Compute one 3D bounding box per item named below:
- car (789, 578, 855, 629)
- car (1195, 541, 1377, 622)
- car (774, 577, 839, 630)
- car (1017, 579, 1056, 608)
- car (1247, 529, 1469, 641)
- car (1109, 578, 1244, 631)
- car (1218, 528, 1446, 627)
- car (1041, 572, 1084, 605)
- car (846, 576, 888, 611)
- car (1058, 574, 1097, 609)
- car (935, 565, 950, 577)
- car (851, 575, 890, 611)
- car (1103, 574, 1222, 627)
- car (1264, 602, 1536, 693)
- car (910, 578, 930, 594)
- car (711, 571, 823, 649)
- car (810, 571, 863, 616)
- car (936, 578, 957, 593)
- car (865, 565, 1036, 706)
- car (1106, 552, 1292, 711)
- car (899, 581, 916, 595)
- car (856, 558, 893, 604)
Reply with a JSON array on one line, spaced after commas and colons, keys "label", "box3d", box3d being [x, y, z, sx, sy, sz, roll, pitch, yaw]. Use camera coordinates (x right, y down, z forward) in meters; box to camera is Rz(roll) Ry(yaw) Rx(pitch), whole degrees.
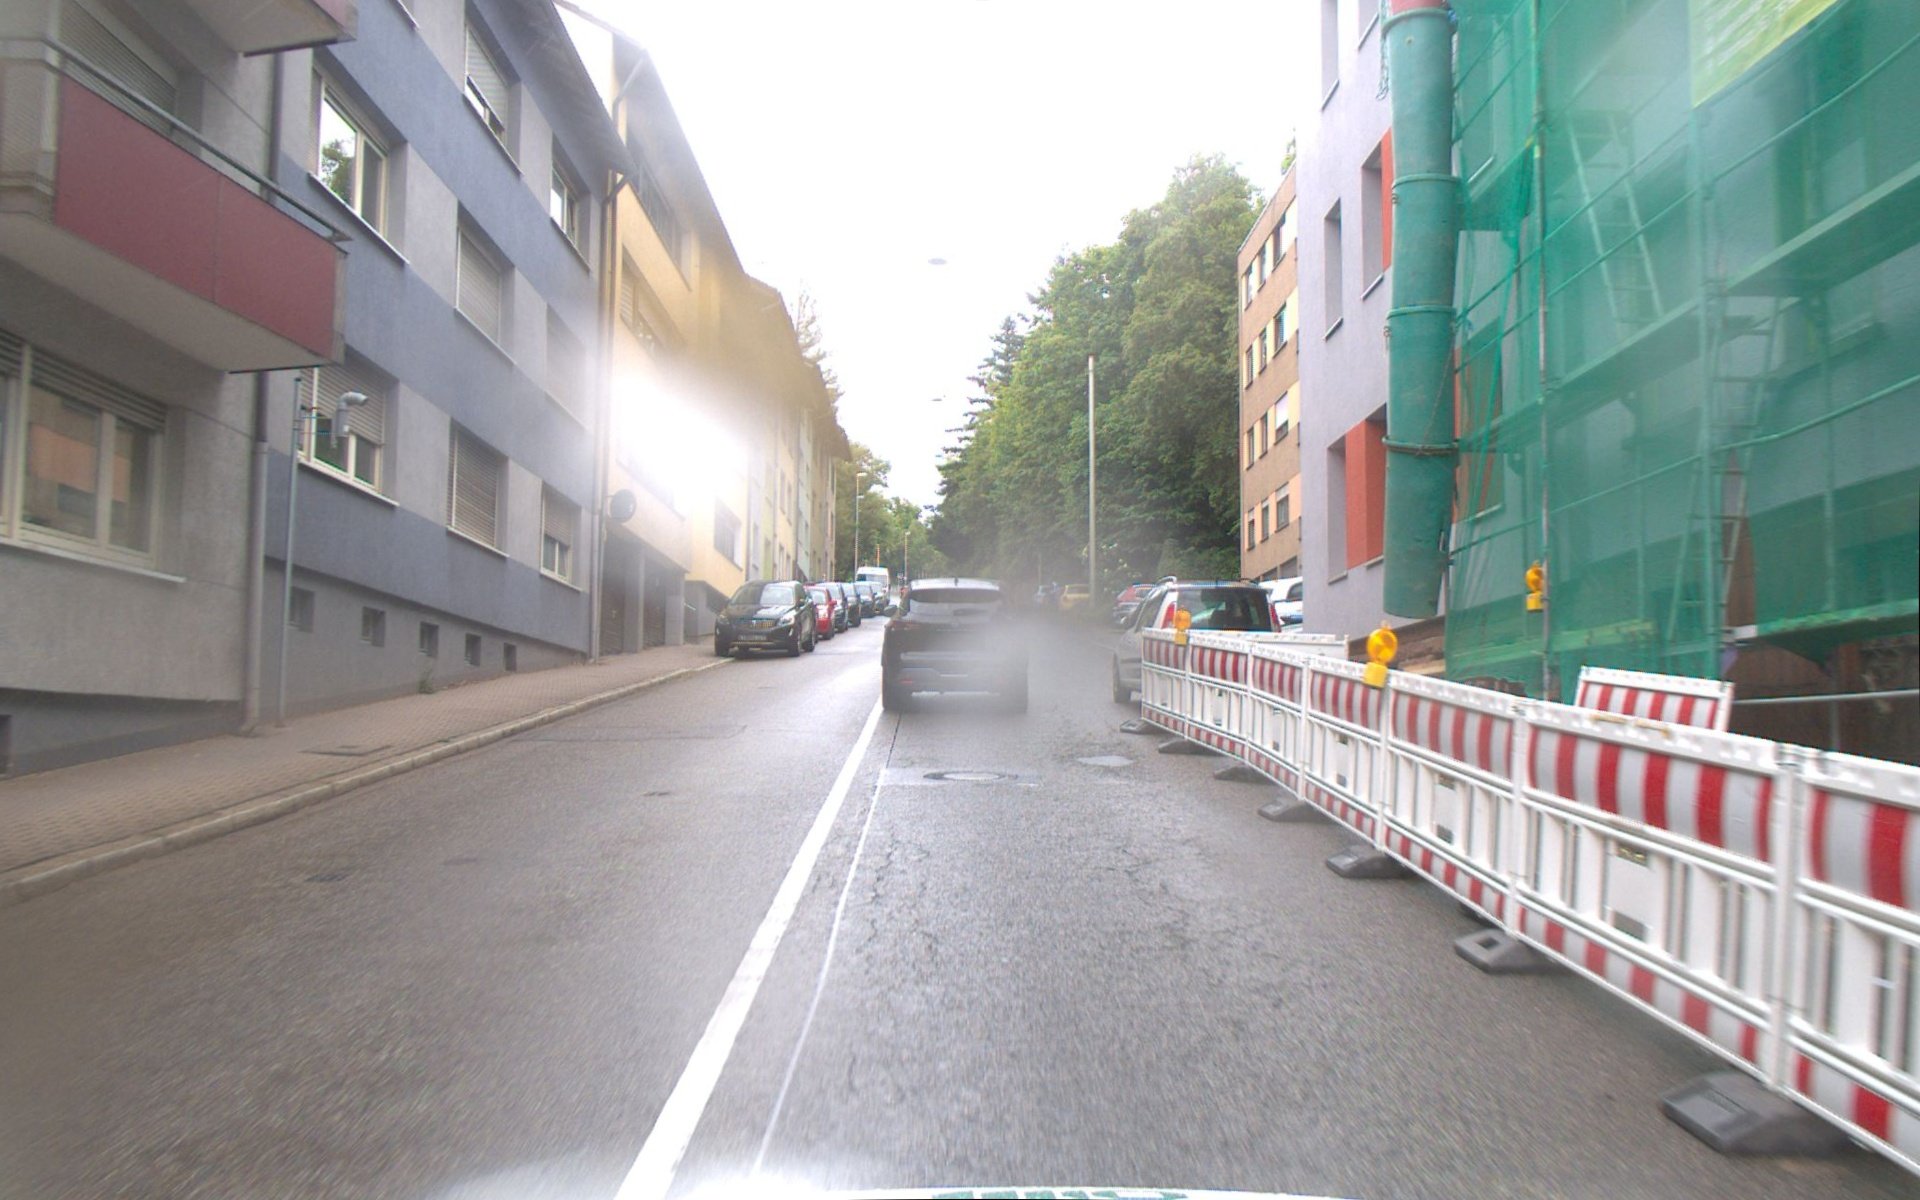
[{"label": "car", "box3d": [-4.542, 0.087, 55.048, 1.953, 1.613, 4.470, 0, 1, -2]}, {"label": "car", "box3d": [7.811, -0.455, 39.753, 3.885, 1.556, 1.691, -5, 1, -5]}, {"label": "car", "box3d": [-4.450, 0.072, 48.251, 1.693, 1.498, 3.490, 0, 1, -2]}, {"label": "car", "box3d": [4.398, -0.404, 95.542, 1.775, 1.556, 4.414, -2, 1, -3]}, {"label": "car", "box3d": [7.676, -0.307, 32.114, 3.751, 1.731, 1.728, -6, 1, -3]}, {"label": "car", "box3d": [7.103, 0.132, 54.488, 4.114, 1.522, 1.759, 3, 0, -3]}, {"label": "car", "box3d": [7.830, -0.482, 35.042, 4.256, 1.555, 1.876, -7, 1, -2]}, {"label": "car", "box3d": [5.230, -0.599, 84.803, 1.774, 1.556, 4.416, -2, 1, -1]}, {"label": "car", "box3d": [-4.452, -0.351, 79.900, 1.950, 1.613, 4.304, 0, 1, -2]}, {"label": "car", "box3d": [5.518, -0.428, 77.844, 1.599, 1.556, 4.001, 2, 1, 1]}, {"label": "car", "box3d": [-2.503, -4.107, 237.643, 1.952, 1.587, 4.000, -1, -1, 1]}, {"label": "car", "box3d": [-4.623, -0.401, 85.887, 1.950, 1.786, 4.478, 0, 1, -2]}, {"label": "car", "box3d": [7.612, -0.007, 62.397, 4.116, 1.764, 1.758, 3, 0, -5]}, {"label": "car", "box3d": [7.541, 0.793, 28.624, 4.182, 1.492, 1.893, 0, 1, -3]}, {"label": "car", "box3d": [-4.207, -1.450, 172.875, 2.033, 1.586, 3.998, 1, 1, -2]}, {"label": "car", "box3d": [-4.357, 0.173, 37.952, 1.952, 1.678, 4.442, 0, 1, 1]}, {"label": "car", "box3d": [-4.627, -0.274, 62.338, 1.816, 1.613, 4.304, 0, 1, -2]}, {"label": "car", "box3d": [-1.435, -1.569, 176.672, 2.033, 1.586, 3.997, 1, 1, -4]}, {"label": "car", "box3d": [-0.142, 0.371, 21.300, 1.953, 1.586, 4.000, 2, 1, -1]}, {"label": "car", "box3d": [2.942, 0.318, 21.092, 1.607, 1.793, 3.999, 2, 1, -2]}, {"label": "car", "box3d": [-6.243, -1.435, 197.389, 2.033, 1.586, 3.999, 1, 1, -2]}, {"label": "car", "box3d": [-4.793, -1.101, 93.053, 1.950, 2.518, 5.782, 0, 1, -2]}]
